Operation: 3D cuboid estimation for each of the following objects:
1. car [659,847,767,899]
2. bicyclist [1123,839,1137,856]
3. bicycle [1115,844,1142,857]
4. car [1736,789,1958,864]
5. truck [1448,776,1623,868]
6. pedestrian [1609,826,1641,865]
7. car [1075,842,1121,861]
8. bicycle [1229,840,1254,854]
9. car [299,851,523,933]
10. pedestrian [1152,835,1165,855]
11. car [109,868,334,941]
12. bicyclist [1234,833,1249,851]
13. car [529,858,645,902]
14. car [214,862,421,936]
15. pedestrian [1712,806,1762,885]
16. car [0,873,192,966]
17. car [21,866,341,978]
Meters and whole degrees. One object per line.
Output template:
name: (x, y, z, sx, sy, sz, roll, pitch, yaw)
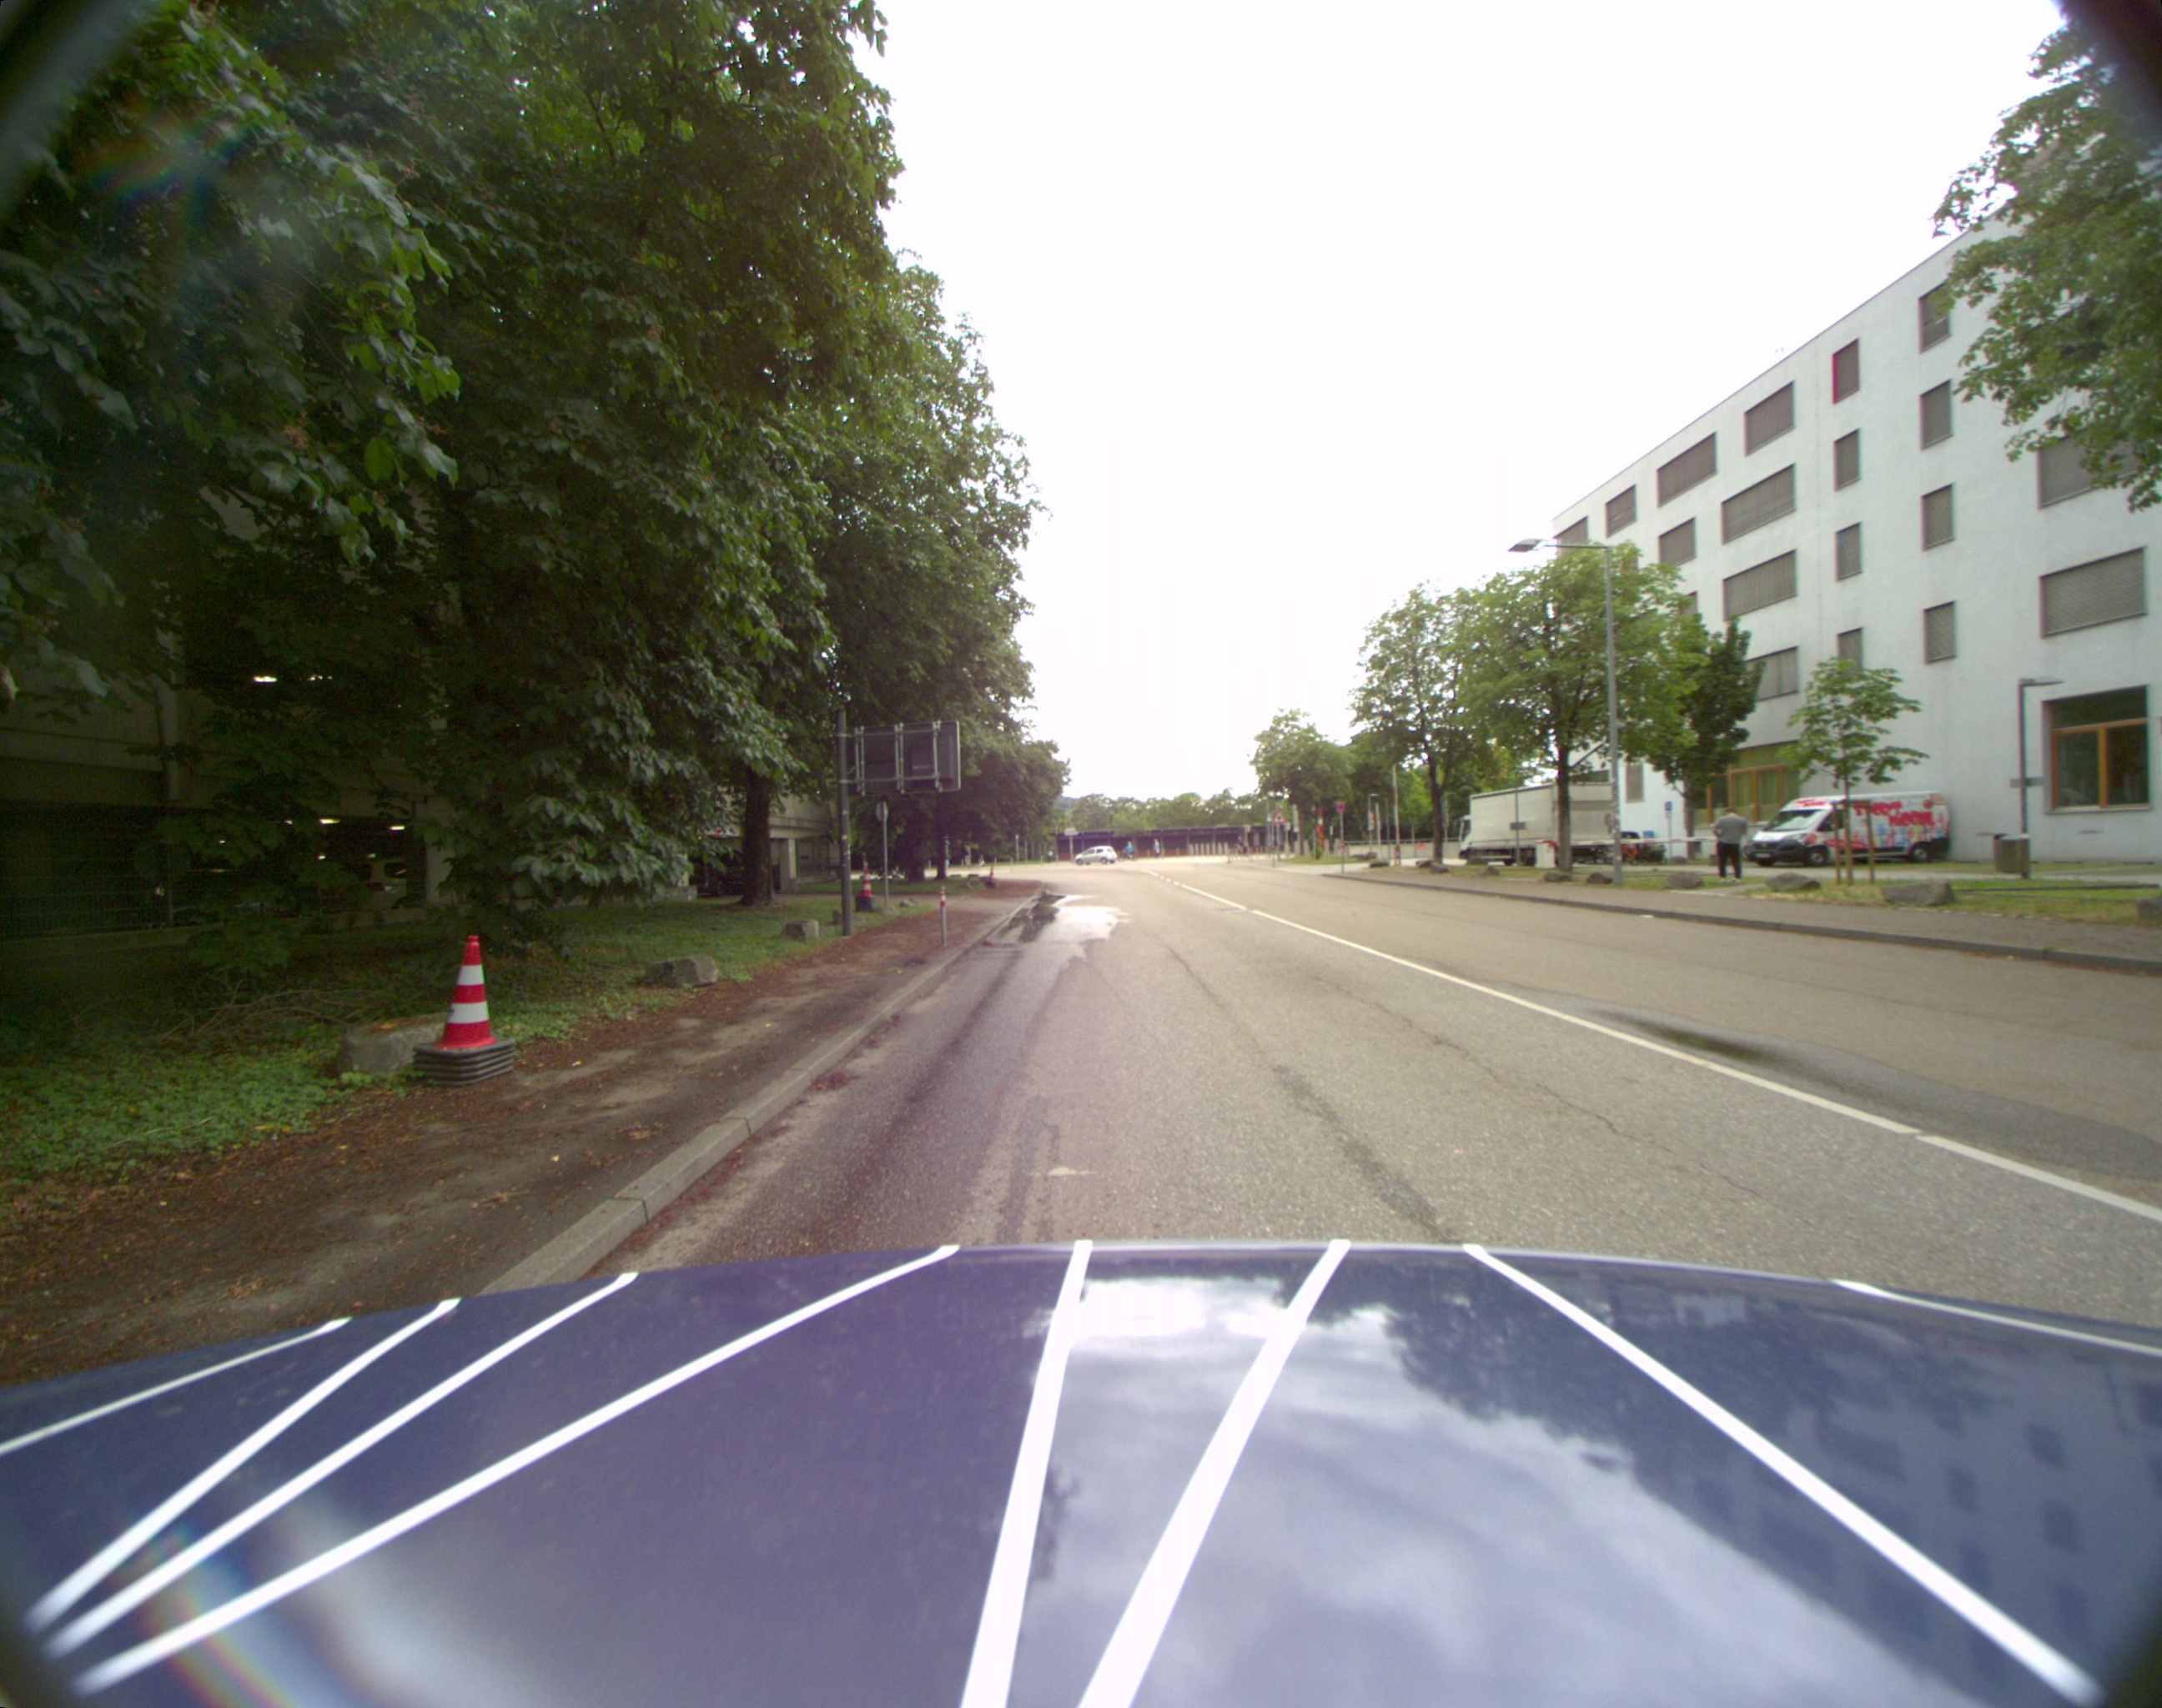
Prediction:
car: (-14.653, 0.700, 30.582, 1.924, 1.824, 4.735, -3, 1, 0)
bicyclist: (4.438, -0.578, 68.574, 1.159, 1.422, 0.742, -3, 2, -3)
bicycle: (4.298, -0.313, 68.572, 2.257, 1.117, 0.748, -3, 2, -3)
car: (26.631, -0.956, 26.556, 5.640, 2.266, 2.078, -3, 2, 0)
truck: (20.434, -1.399, 34.923, 2.684, 3.580, 8.361, -3, 2, -2)
pedestrian: (23.364, -0.372, 32.637, 0.679, 1.597, 0.887, -3, 2, -7)
car: (1.467, -0.231, 64.798, 3.494, 1.448, 1.609, -2, 2, 30)
bicycle: (14.680, -0.637, 69.485, 2.050, 1.137, 0.777, -3, 3, -1)
car: (-17.248, 0.881, 19.962, 1.589, 1.699, 4.666, -3, 2, 1)
pedestrian: (7.412, -0.883, 72.656, 1.200, 1.824, 0.927, -3, 3, 4)
car: (-22.805, 1.264, 20.401, 1.721, 1.537, 3.700, -3, 2, -1)
bicyclist: (14.652, -1.107, 69.464, 1.101, 1.488, 0.927, -3, 3, -1)
car: (-20.005, 1.013, 30.996, 1.876, 1.445, 4.000, -3, 2, 4)
car: (-20.263, 1.116, 20.424, 1.721, 1.577, 3.690, -3, 2, -1)
pedestrian: (14.268, -0.184, 16.526, 0.784, 1.662, 0.847, -1, 3, 42)
car: (-20.372, 1.271, 14.779, 1.721, 1.537, 3.700, -3, 2, -1)
car: (-17.474, 1.216, 15.096, 1.589, 1.699, 3.856, -3, 2, 1)
